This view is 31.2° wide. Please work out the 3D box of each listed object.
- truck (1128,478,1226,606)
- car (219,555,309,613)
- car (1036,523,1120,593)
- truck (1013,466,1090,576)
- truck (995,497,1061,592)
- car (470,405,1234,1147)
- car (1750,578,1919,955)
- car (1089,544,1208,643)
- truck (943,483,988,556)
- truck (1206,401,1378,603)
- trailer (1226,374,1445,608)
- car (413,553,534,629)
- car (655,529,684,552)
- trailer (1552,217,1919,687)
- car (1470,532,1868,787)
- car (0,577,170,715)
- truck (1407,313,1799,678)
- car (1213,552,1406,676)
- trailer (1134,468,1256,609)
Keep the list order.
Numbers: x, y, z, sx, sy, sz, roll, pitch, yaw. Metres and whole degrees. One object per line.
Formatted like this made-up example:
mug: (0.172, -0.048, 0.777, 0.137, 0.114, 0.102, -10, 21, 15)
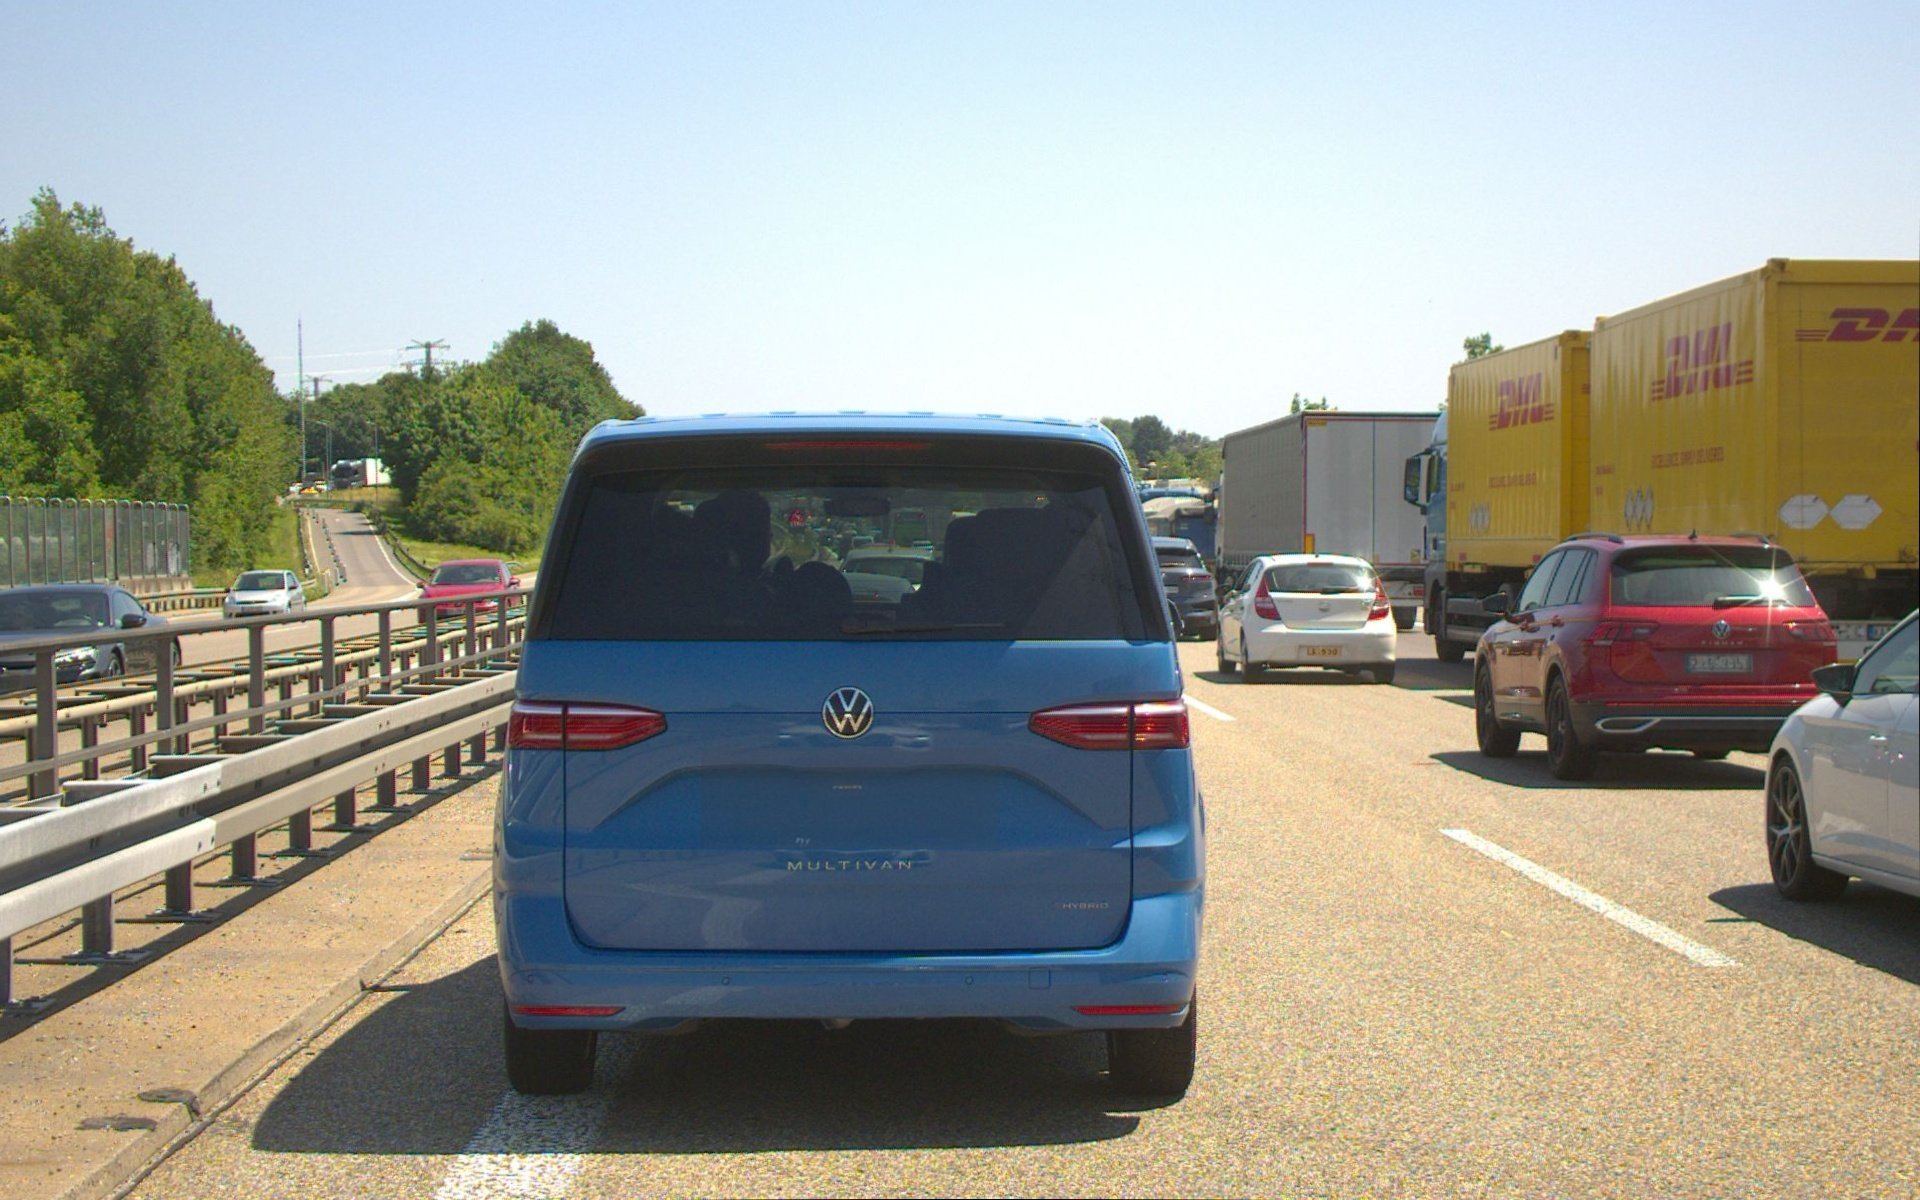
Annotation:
truck: (6.483, -1.710, 103.342, 2.367, 3.709, 6.034, 1, 0, -1)
car: (-18.179, -0.423, 89.933, 1.604, 1.389, 3.677, -2, 1, -1)
car: (2.724, -0.989, 80.122, 1.715, 1.535, 3.821, -1, 1, -1)
truck: (4.326, -3.690, 164.834, 2.833, 5.023, 11.147, 1, 0, -2)
truck: (3.720, -3.011, 189.875, 2.833, 5.023, 11.818, 1, 0, -2)
car: (-0.297, 0.408, 10.500, 1.882, 1.831, 4.000, 0, 1, -1)
car: (4.459, 0.627, 13.287, 1.781, 1.382, 4.188, 0, 1, -1)
car: (3.099, -0.089, 57.128, 1.715, 1.581, 3.821, 0, 0, -1)
truck: (0.360, -6.134, 265.557, 2.833, 5.354, 12.556, 1, 0, -2)
truck: (7.016, -2.016, 73.572, 2.768, 4.081, 6.984, 1, 0, -1)
trailer: (7.143, -1.972, 67.067, 2.755, 4.132, 11.312, 1, 0, -1)
car: (-9.686, -0.188, 68.710, 1.842, 1.441, 4.419, 1, 0, -1)
car: (-20.845, -4.246, 246.879, 1.780, 1.563, 4.387, -2, 1, -1)
trailer: (8.089, -1.282, 33.929, 2.701, 4.010, 8.931, 1, 0, -1)
car: (4.779, 0.340, 23.722, 1.851, 1.603, 4.000, 0, 1, -1)
car: (-9.556, 0.428, 35.342, 1.896, 1.311, 4.372, 1, 0, -1)
truck: (7.859, -1.196, 43.578, 2.722, 4.041, 10.337, 1, 0, -1)
car: (4.107, 0.130, 40.906, 1.838, 1.409, 4.000, 0, 1, -1)
trailer: (6.588, -1.679, 97.845, 2.379, 3.731, 11.189, 1, 0, -1)
